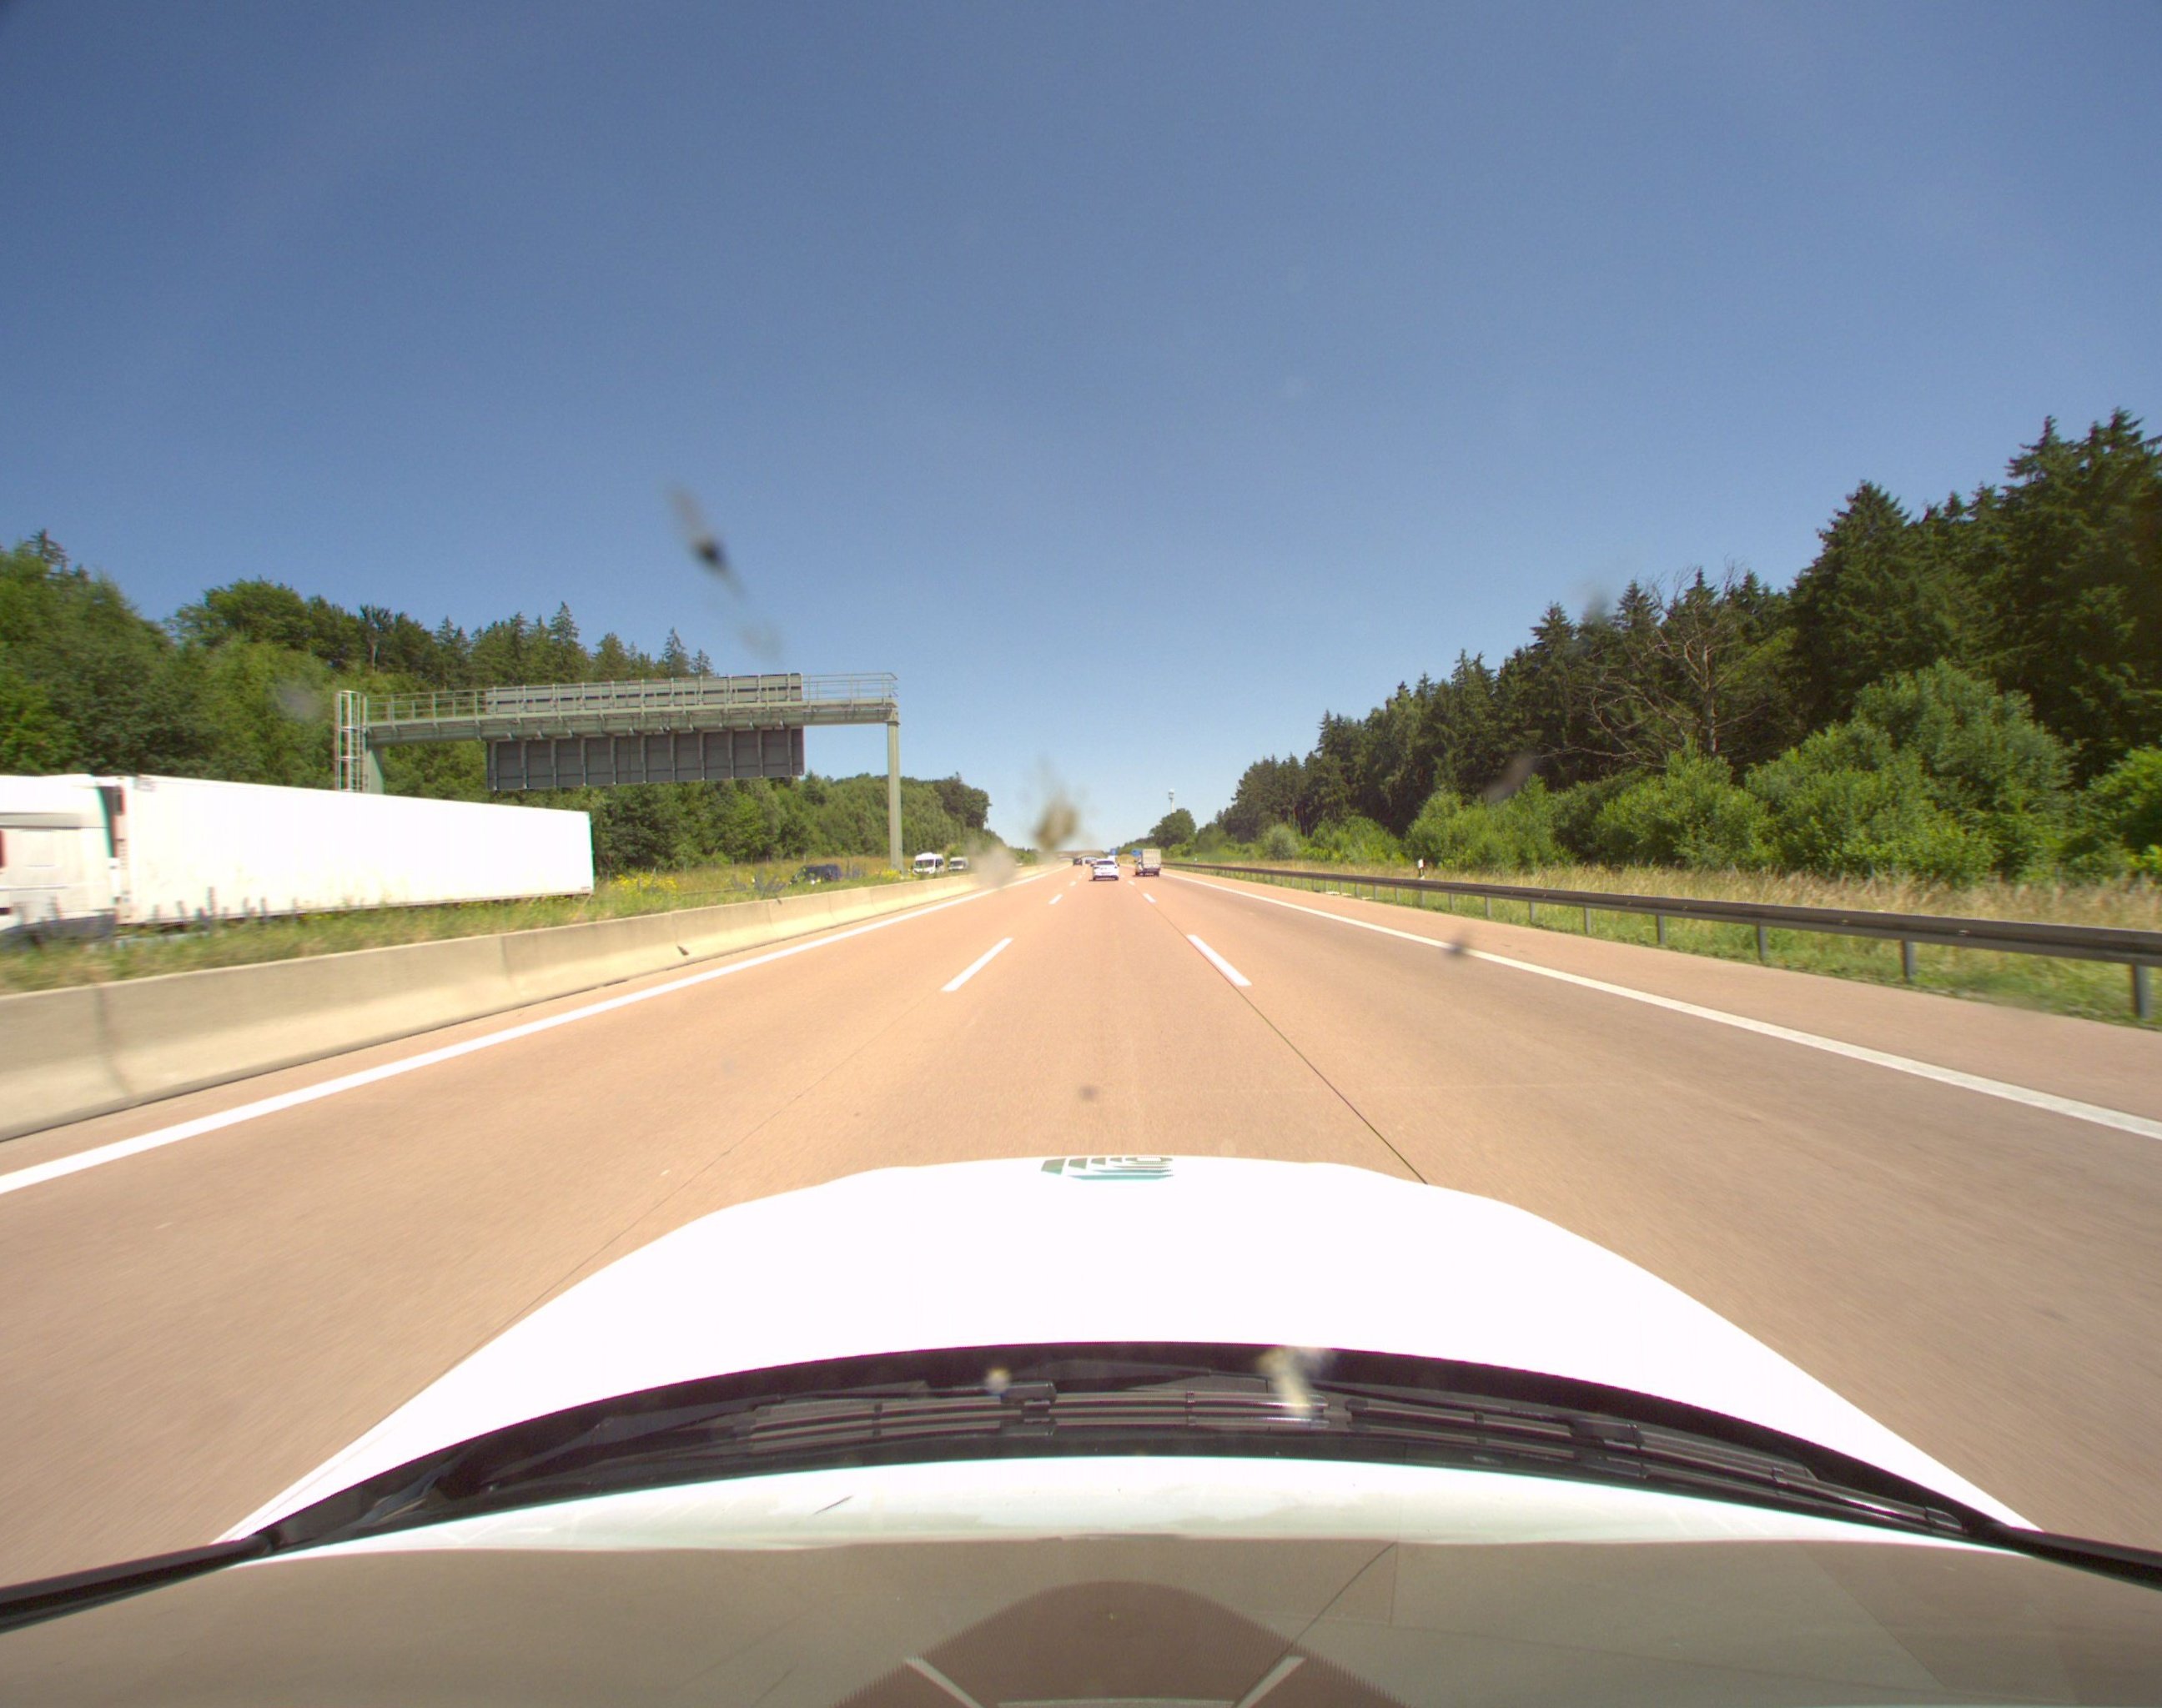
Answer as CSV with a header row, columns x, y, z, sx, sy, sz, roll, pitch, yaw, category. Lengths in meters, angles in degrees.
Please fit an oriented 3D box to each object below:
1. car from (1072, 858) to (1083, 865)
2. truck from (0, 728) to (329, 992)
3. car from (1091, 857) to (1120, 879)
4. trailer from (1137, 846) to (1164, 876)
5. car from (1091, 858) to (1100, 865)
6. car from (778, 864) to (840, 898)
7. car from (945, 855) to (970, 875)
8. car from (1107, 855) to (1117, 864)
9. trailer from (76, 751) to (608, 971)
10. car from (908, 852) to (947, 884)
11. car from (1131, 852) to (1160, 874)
x,y,z,sx,sy,sz,roll,pitch,yaw,category
-0.689,1.527,165.617,1.883,1.463,4.002,-1,0,2,car
-19.158,0.128,15.914,2.692,4.380,6.481,-1,0,2,truck
1.658,0.942,54.824,1.883,1.398,4.002,0,0,2,car
5.374,0.553,63.313,1.653,2.164,4.014,-1,-1,-1,trailer
2.866,1.527,163.534,1.884,1.463,4.000,-1,0,1,car
-14.231,1.373,42.847,1.884,1.655,4.000,-1,0,1,car
-16.803,1.459,111.310,2.225,2.686,6.887,-1,0,0,car
6.869,1.185,180.367,2.102,2.054,4.002,-1,0,2,car
-18.866,0.153,23.159,2.693,4.434,13.198,-1,0,2,trailer
-13.738,1.214,73.408,2.225,2.686,6.098,-1,0,1,car
5.305,0.762,67.867,1.885,1.728,5.183,-1,-1,-1,car
